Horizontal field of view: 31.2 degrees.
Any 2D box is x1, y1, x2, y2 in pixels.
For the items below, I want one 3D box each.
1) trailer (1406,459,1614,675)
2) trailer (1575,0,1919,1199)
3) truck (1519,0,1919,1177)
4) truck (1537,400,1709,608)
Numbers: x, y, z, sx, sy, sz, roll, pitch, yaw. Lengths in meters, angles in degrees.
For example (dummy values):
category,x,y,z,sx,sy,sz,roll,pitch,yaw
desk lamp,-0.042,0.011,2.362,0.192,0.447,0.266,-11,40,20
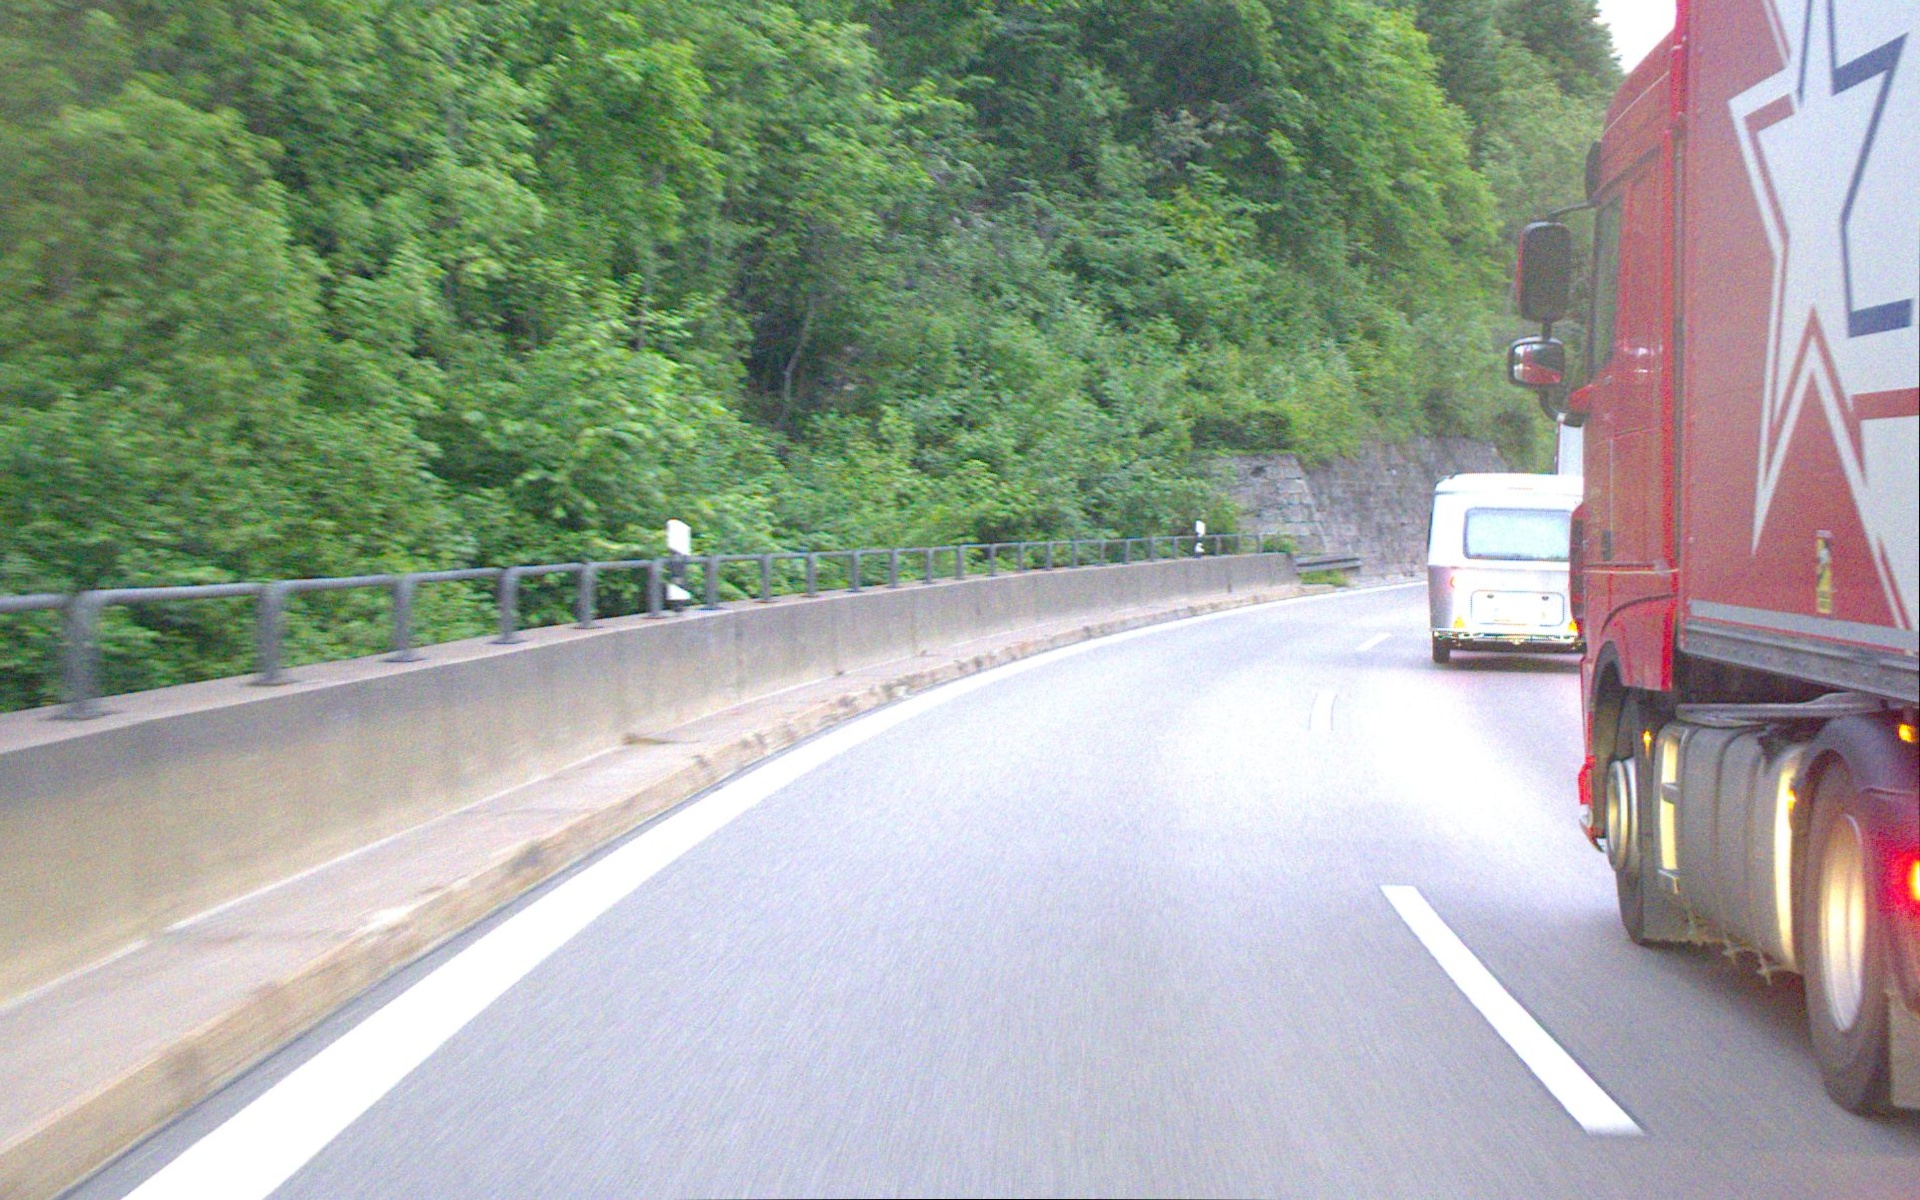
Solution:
category,x,y,z,sx,sy,sz,roll,pitch,yaw
trailer,6.517,-0.455,41.314,2.055,2.366,5.937,1,2,6
trailer,3.760,-0.507,5.141,3.097,3.956,14.219,0,1,0
truck,3.961,-0.651,11.528,3.069,4.130,6.447,2,1,1
truck,15.258,-2.075,79.469,3.296,4.159,16.495,-3,0,11
